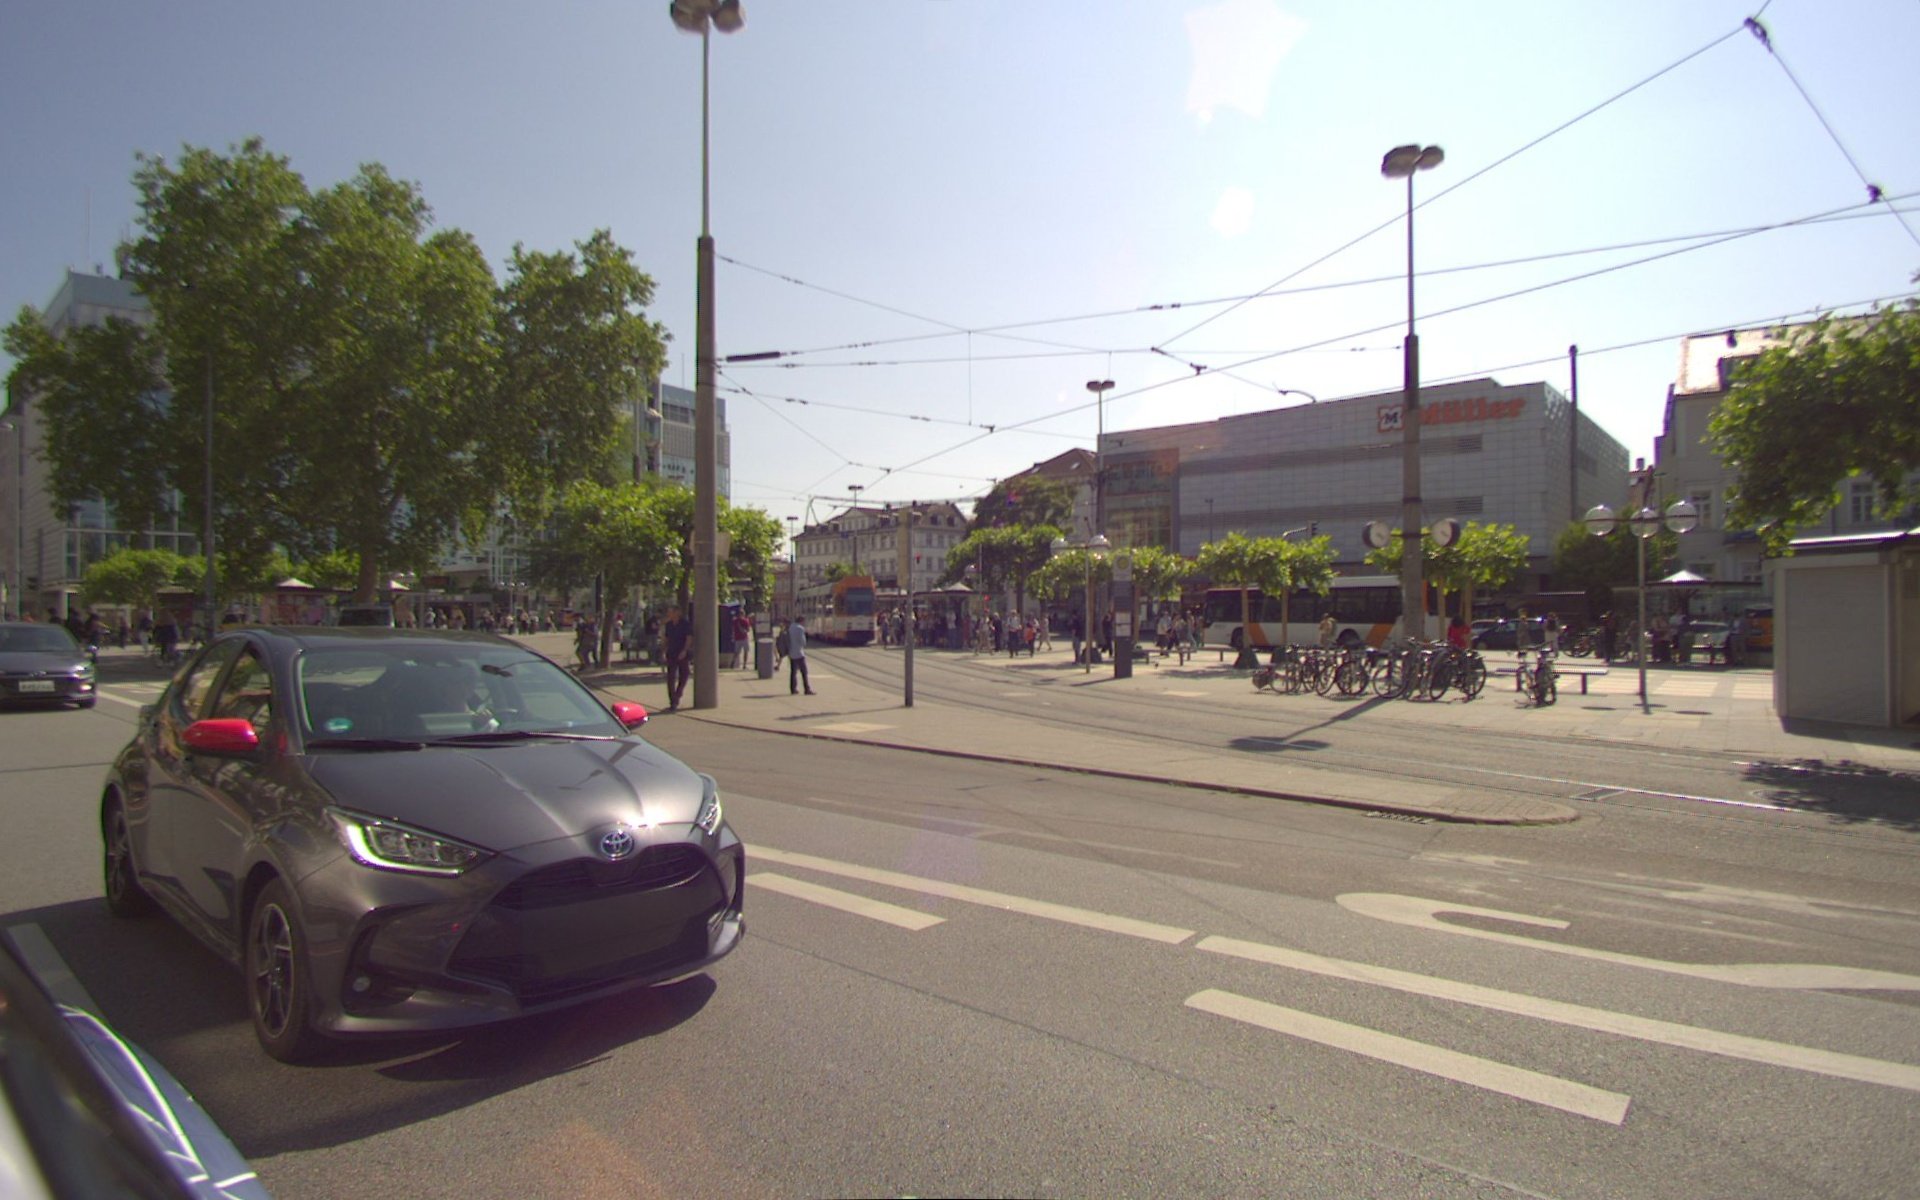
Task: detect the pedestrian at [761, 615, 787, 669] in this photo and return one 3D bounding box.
[{"bbox_3d":[-6.324,1.437,34.422,0.605,1.830,0.570,-2,-5,40],"label":"pedestrian"}]

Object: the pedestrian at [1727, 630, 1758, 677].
[{"bbox_3d":[25.238,1.732,32.626,0.616,1.477,0.681,4,-5,-44],"label":"pedestrian"}]

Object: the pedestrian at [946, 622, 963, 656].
[{"bbox_3d":[-0.255,1.842,47.513,0.675,1.561,0.575,0,-4,17],"label":"pedestrian"}]

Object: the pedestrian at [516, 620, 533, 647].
[{"bbox_3d":[-29.717,2.270,69.047,0.780,1.760,0.744,-1,0,31],"label":"pedestrian"}]

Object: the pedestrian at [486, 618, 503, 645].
[{"bbox_3d":[-31.135,2.113,67.701,0.780,1.760,0.744,-1,0,31],"label":"pedestrian"}]

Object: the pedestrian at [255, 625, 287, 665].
[{"bbox_3d":[-25.644,1.666,37.672,0.671,1.435,0.744,-1,0,31],"label":"pedestrian"}]

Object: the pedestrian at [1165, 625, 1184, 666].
[{"bbox_3d":[7.880,1.665,37.156,0.585,1.477,0.522,-1,-4,21],"label":"pedestrian"}]

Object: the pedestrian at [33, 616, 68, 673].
[{"bbox_3d":[-29.666,1.439,33.007,0.529,1.796,0.745,-1,0,-14],"label":"pedestrian"}]

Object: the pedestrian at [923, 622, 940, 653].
[{"bbox_3d":[-1.436,1.915,51.223,0.675,1.561,0.575,0,-4,17],"label":"pedestrian"}]

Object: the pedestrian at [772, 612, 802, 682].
[{"bbox_3d":[-5.043,1.353,29.545,0.563,2.023,0.686,-1,-1,32],"label":"pedestrian"}]

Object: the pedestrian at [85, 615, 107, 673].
[{"bbox_3d":[-28.044,1.419,32.850,0.510,1.849,0.716,-1,0,-41],"label":"pedestrian"}]

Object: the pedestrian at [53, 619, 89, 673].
[{"bbox_3d":[-28.045,1.437,31.946,0.620,1.661,0.754,-1,0,-23],"label":"pedestrian"}]

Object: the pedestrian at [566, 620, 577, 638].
[{"bbox_3d":[-32.104,2.418,83.640,0.757,1.483,0.548,-1,0,40],"label":"pedestrian"}]

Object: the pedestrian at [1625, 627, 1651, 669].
[{"bbox_3d":[24.275,1.722,36.232,0.741,1.477,0.780,-2,-5,36],"label":"pedestrian"}]

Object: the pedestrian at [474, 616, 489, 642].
[{"bbox_3d":[-33.549,2.043,71.005,0.740,1.760,0.784,-1,0,-11],"label":"pedestrian"}]

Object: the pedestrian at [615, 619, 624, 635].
[{"bbox_3d":[-32.128,2.563,95.515,0.745,1.483,0.557,-1,0,-22],"label":"pedestrian"}]

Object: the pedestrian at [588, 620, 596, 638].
[{"bbox_3d":[-32.350,2.536,89.008,0.546,1.483,0.760,-1,0,-12],"label":"pedestrian"}]

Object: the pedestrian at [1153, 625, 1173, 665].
[{"bbox_3d":[7.671,1.711,38.189,0.621,1.477,0.674,-1,-4,25],"label":"pedestrian"}]

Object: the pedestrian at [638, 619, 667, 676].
[{"bbox_3d":[-9.831,1.530,32.363,0.671,1.808,0.625,1,-4,-1],"label":"pedestrian"}]

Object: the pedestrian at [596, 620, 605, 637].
[{"bbox_3d":[-31.271,2.473,88.018,0.546,1.483,0.760,-1,0,-12],"label":"pedestrian"}]

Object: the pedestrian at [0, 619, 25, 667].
[{"bbox_3d":[-35.861,1.604,38.105,0.732,1.760,0.865,-1,0,39],"label":"pedestrian"}]

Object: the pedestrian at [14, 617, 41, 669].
[{"bbox_3d":[-32.424,1.476,35.196,0.752,1.760,0.605,-1,-1,40],"label":"pedestrian"}]

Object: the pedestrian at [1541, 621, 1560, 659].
[{"bbox_3d":[23.245,1.566,39.844,0.558,1.477,0.582,-1,-4,22],"label":"pedestrian"}]

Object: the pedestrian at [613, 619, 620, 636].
[{"bbox_3d":[-31.172,2.482,91.873,0.546,1.483,0.760,-1,0,-12],"label":"pedestrian"}]

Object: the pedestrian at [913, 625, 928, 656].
[{"bbox_3d":[-2.016,2.071,51.581,0.573,1.561,0.677,0,-4,14],"label":"pedestrian"}]

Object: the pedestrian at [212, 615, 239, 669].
[{"bbox_3d":[-24.296,1.373,33.491,0.516,1.756,0.511,-1,0,28],"label":"pedestrian"}]

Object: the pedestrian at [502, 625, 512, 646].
[{"bbox_3d":[-32.364,2.512,72.286,0.410,1.483,0.459,-1,0,39],"label":"pedestrian"}]

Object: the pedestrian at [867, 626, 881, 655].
[{"bbox_3d":[-4.719,2.210,55.388,0.568,1.561,0.683,2,-4,-22],"label":"pedestrian"}]

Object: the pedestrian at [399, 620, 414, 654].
[{"bbox_3d":[-28.447,1.910,52.002,0.629,1.706,0.754,-1,0,-26],"label":"pedestrian"}]

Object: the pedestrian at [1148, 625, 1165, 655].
[{"bbox_3d":[10.361,2.123,53.237,0.840,1.561,0.677,0,-4,14],"label":"pedestrian"}]

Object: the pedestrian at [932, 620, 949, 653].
[{"bbox_3d":[-0.936,1.768,48.400,0.675,1.561,0.575,0,-4,17],"label":"pedestrian"}]

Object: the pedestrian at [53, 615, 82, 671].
[{"bbox_3d":[-30.120,1.435,34.147,0.738,1.860,0.587,-1,-3,40],"label":"pedestrian"}]

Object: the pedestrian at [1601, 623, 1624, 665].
[{"bbox_3d":[23.233,1.565,36.035,0.622,1.477,0.578,-1,-4,29],"label":"pedestrian"}]

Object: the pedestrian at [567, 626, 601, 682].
[{"bbox_3d":[-10.565,1.527,28.434,0.680,1.536,0.616,-2,-5,41],"label":"pedestrian"}]

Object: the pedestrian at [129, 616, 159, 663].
[{"bbox_3d":[-31.188,1.497,38.665,0.666,1.760,0.742,-1,0,39],"label":"pedestrian"}]

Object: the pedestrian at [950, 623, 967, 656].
[{"bbox_3d":[-0.090,1.882,48.622,0.675,1.561,0.575,0,-4,17],"label":"pedestrian"}]

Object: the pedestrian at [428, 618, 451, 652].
[{"bbox_3d":[-27.432,1.855,53.296,0.780,1.760,0.744,-1,0,31],"label":"pedestrian"}]

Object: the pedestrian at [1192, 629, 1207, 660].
[{"bbox_3d":[11.862,2.211,50.185,0.672,1.477,0.623,0,-4,7],"label":"pedestrian"}]

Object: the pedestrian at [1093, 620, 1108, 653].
[{"bbox_3d":[6.409,1.689,46.187,0.672,1.477,0.623,0,-4,7],"label":"pedestrian"}]

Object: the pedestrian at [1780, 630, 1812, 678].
[{"bbox_3d":[25.932,1.673,31.395,0.616,1.477,0.681,4,-5,-44],"label":"pedestrian"}]

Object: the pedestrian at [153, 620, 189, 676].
[{"bbox_3d":[-24.593,1.492,31.545,0.640,1.704,0.637,-1,0,28],"label":"pedestrian"}]

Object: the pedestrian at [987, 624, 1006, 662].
[{"bbox_3d":[1.544,1.832,42.922,0.675,1.610,0.621,-1,-4,19],"label":"pedestrian"}]
